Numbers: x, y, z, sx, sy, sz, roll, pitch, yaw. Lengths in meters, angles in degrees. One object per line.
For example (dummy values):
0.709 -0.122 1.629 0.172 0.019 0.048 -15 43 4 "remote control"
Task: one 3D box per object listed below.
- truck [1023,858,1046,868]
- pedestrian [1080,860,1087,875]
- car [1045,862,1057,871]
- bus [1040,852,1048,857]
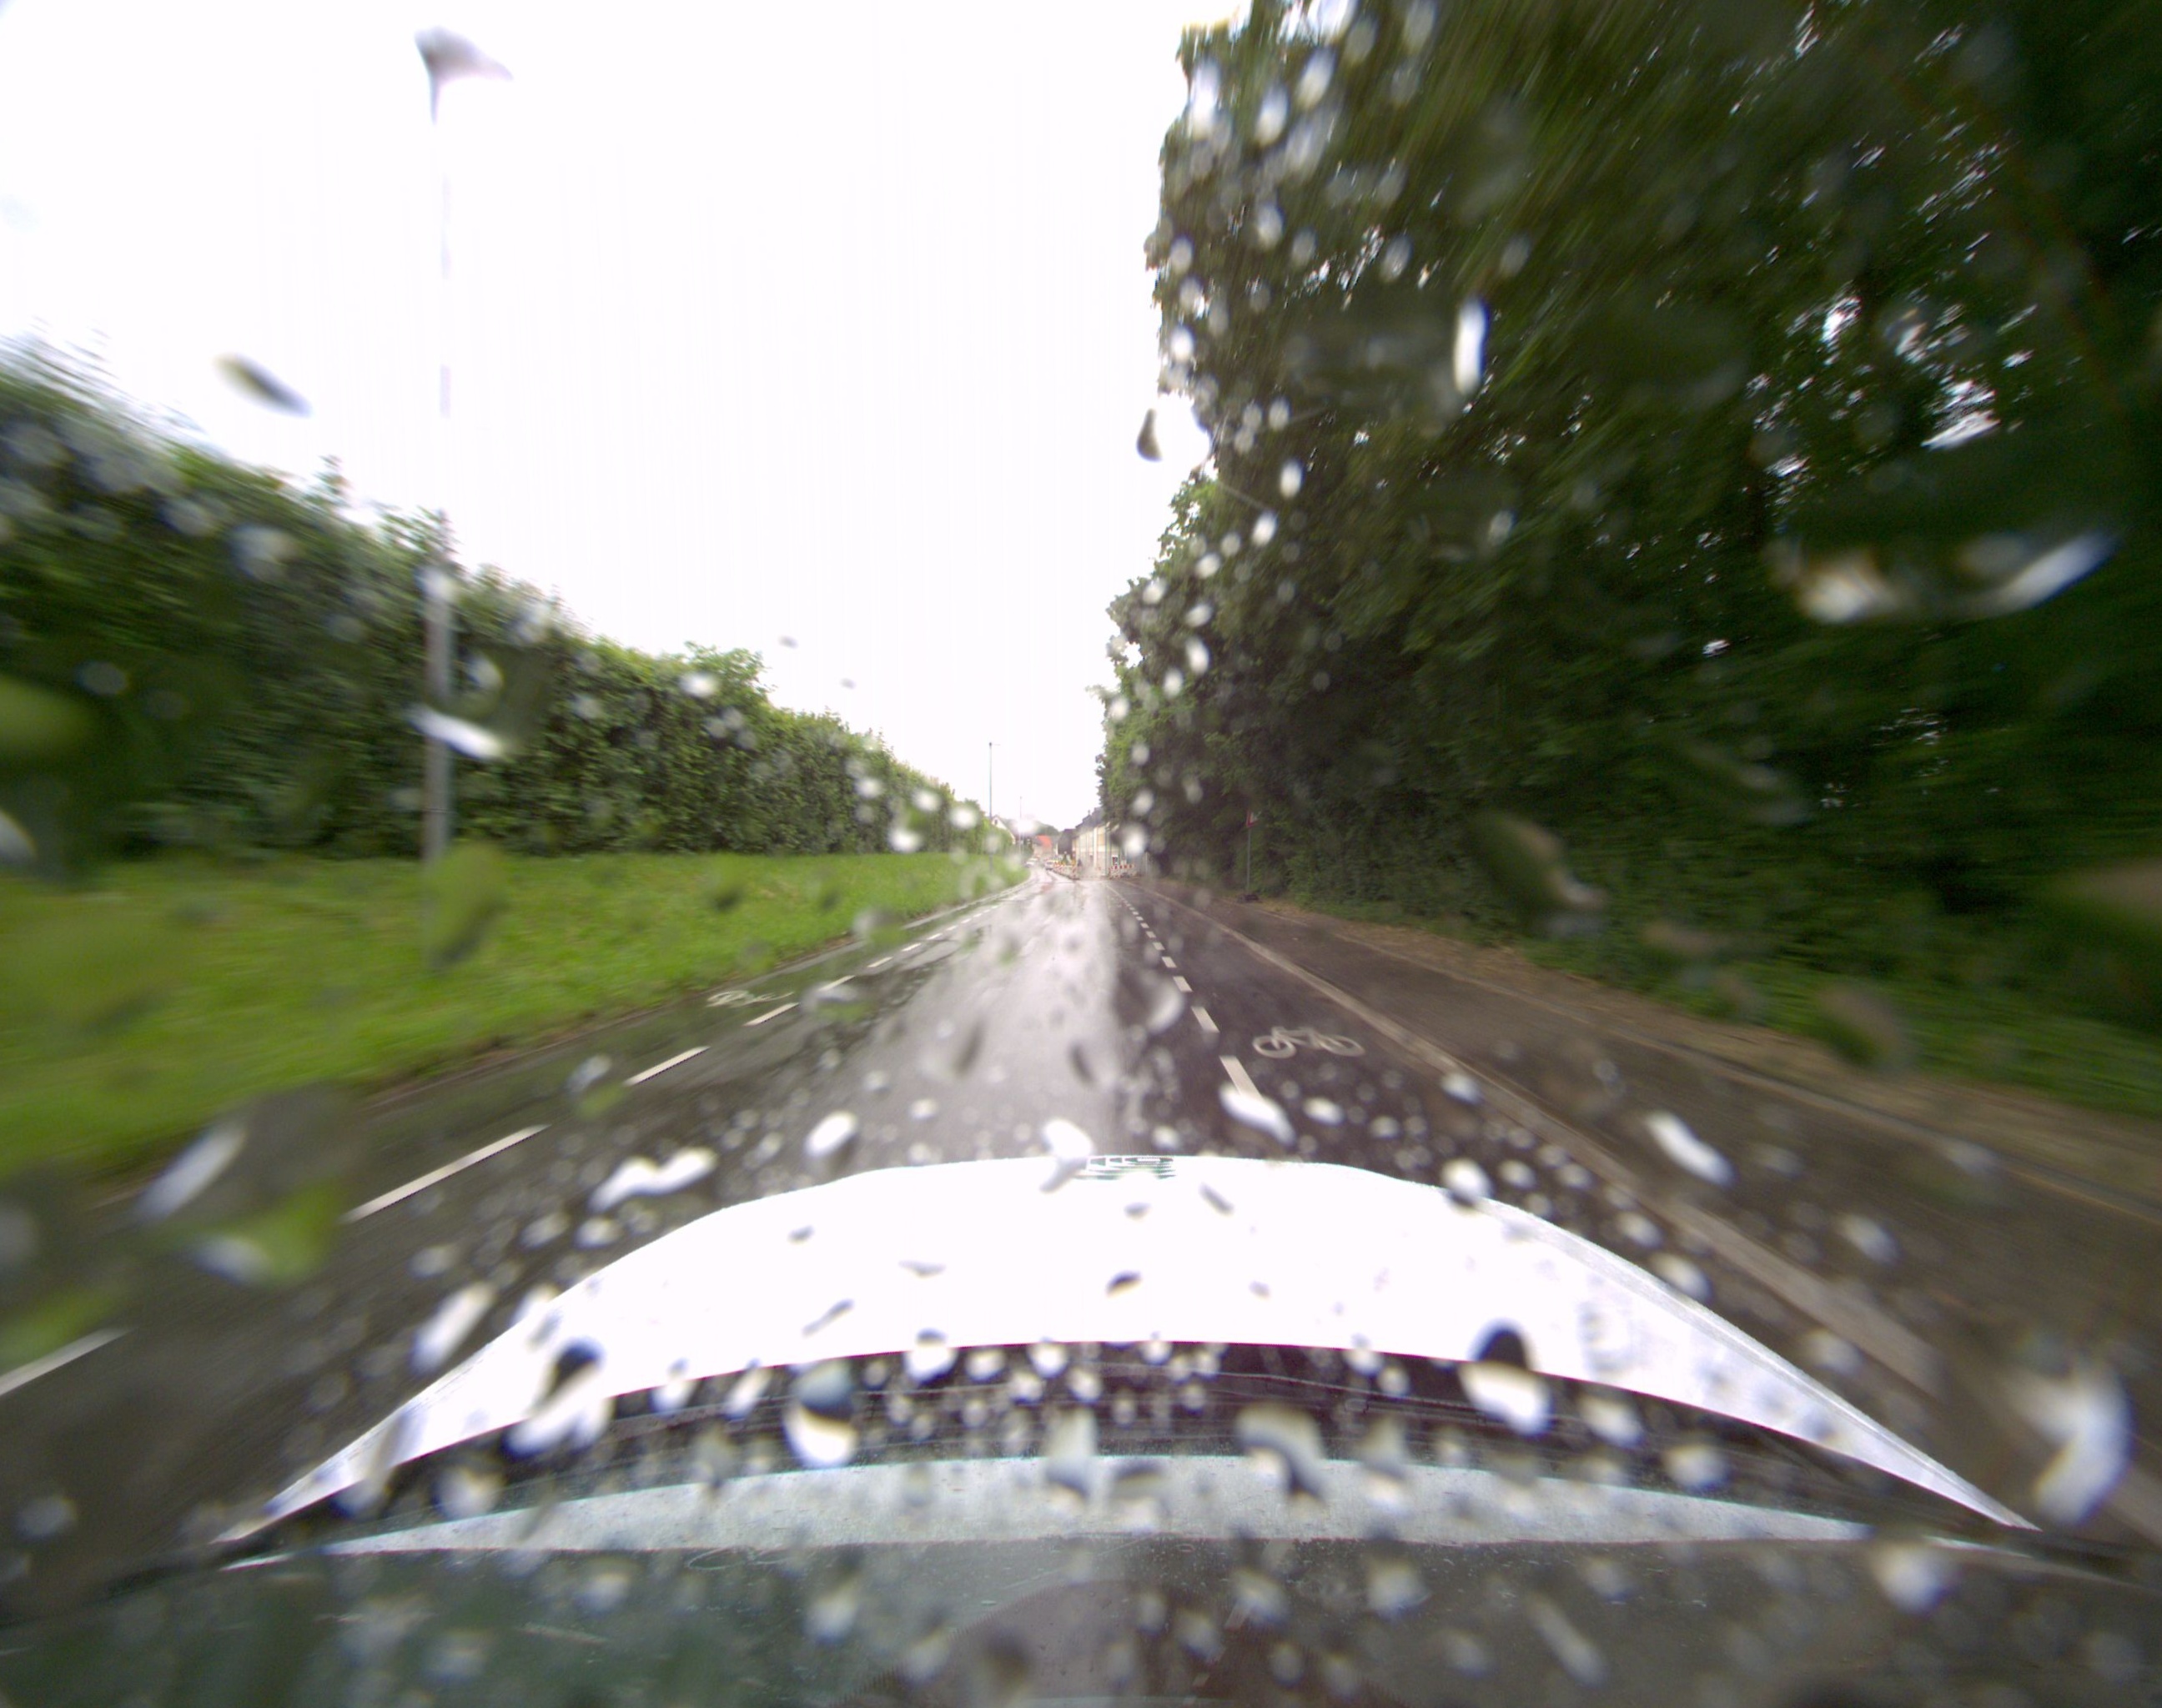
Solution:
-9.990 1.904 176.550 1.975 2.013 4.934 2 1 43 "truck"
0.336 1.613 96.094 0.665 1.755 0.809 -1 0 -9 "pedestrian"
-5.547 2.287 150.763 1.985 1.611 4.003 -1 0 3 "car"
-9.613 0.085 212.307 1.789 1.409 3.998 -1 0 -1 "bus"
